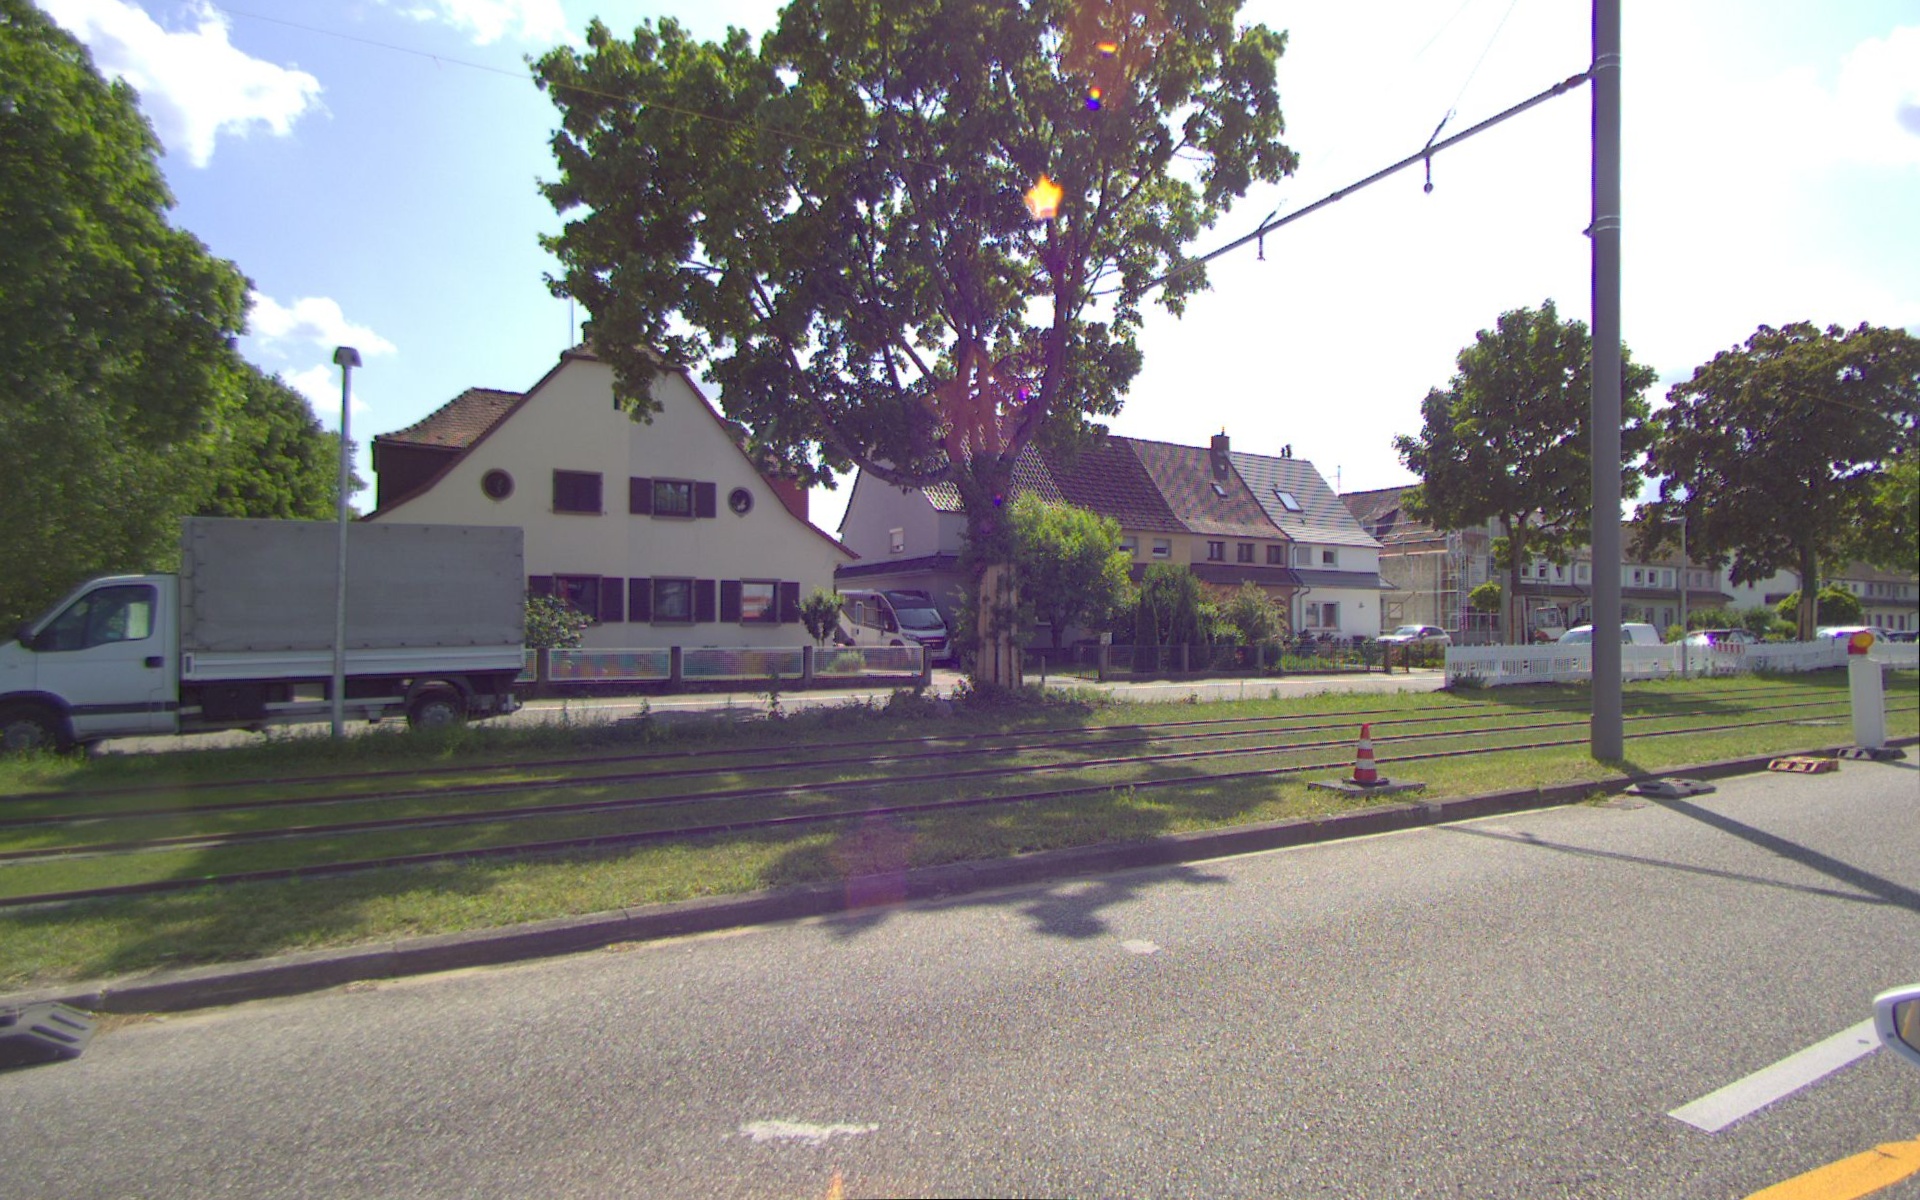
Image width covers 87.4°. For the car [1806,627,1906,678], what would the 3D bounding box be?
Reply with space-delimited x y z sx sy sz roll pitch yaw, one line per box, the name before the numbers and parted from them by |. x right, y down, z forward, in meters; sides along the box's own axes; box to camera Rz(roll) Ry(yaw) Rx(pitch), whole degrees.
car | 35.370 2.029 39.637 4.079 1.892 1.768 1 -2 -30

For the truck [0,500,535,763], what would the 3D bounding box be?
truck | -8.829 0.399 12.973 5.906 2.817 2.255 1 -2 -31

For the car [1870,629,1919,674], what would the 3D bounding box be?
car | 40.654 2.163 42.693 4.079 1.829 1.768 1 -2 -30

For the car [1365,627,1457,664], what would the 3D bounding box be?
car | 19.999 1.988 44.494 3.952 1.539 1.768 1 -2 -30

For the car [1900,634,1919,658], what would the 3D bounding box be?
car | 70.043 3.305 72.739 4.079 1.745 1.768 1 -2 -30

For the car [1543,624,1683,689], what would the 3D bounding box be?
car | 19.563 1.642 30.051 4.312 1.845 1.768 1 -2 -30

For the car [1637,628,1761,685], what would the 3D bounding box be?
car | 24.298 1.809 32.999 4.177 1.797 1.768 1 -2 -30

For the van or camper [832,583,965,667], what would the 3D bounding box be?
van or camper | -2.367 0.934 36.653 2.269 2.801 6.051 1 -2 -32
